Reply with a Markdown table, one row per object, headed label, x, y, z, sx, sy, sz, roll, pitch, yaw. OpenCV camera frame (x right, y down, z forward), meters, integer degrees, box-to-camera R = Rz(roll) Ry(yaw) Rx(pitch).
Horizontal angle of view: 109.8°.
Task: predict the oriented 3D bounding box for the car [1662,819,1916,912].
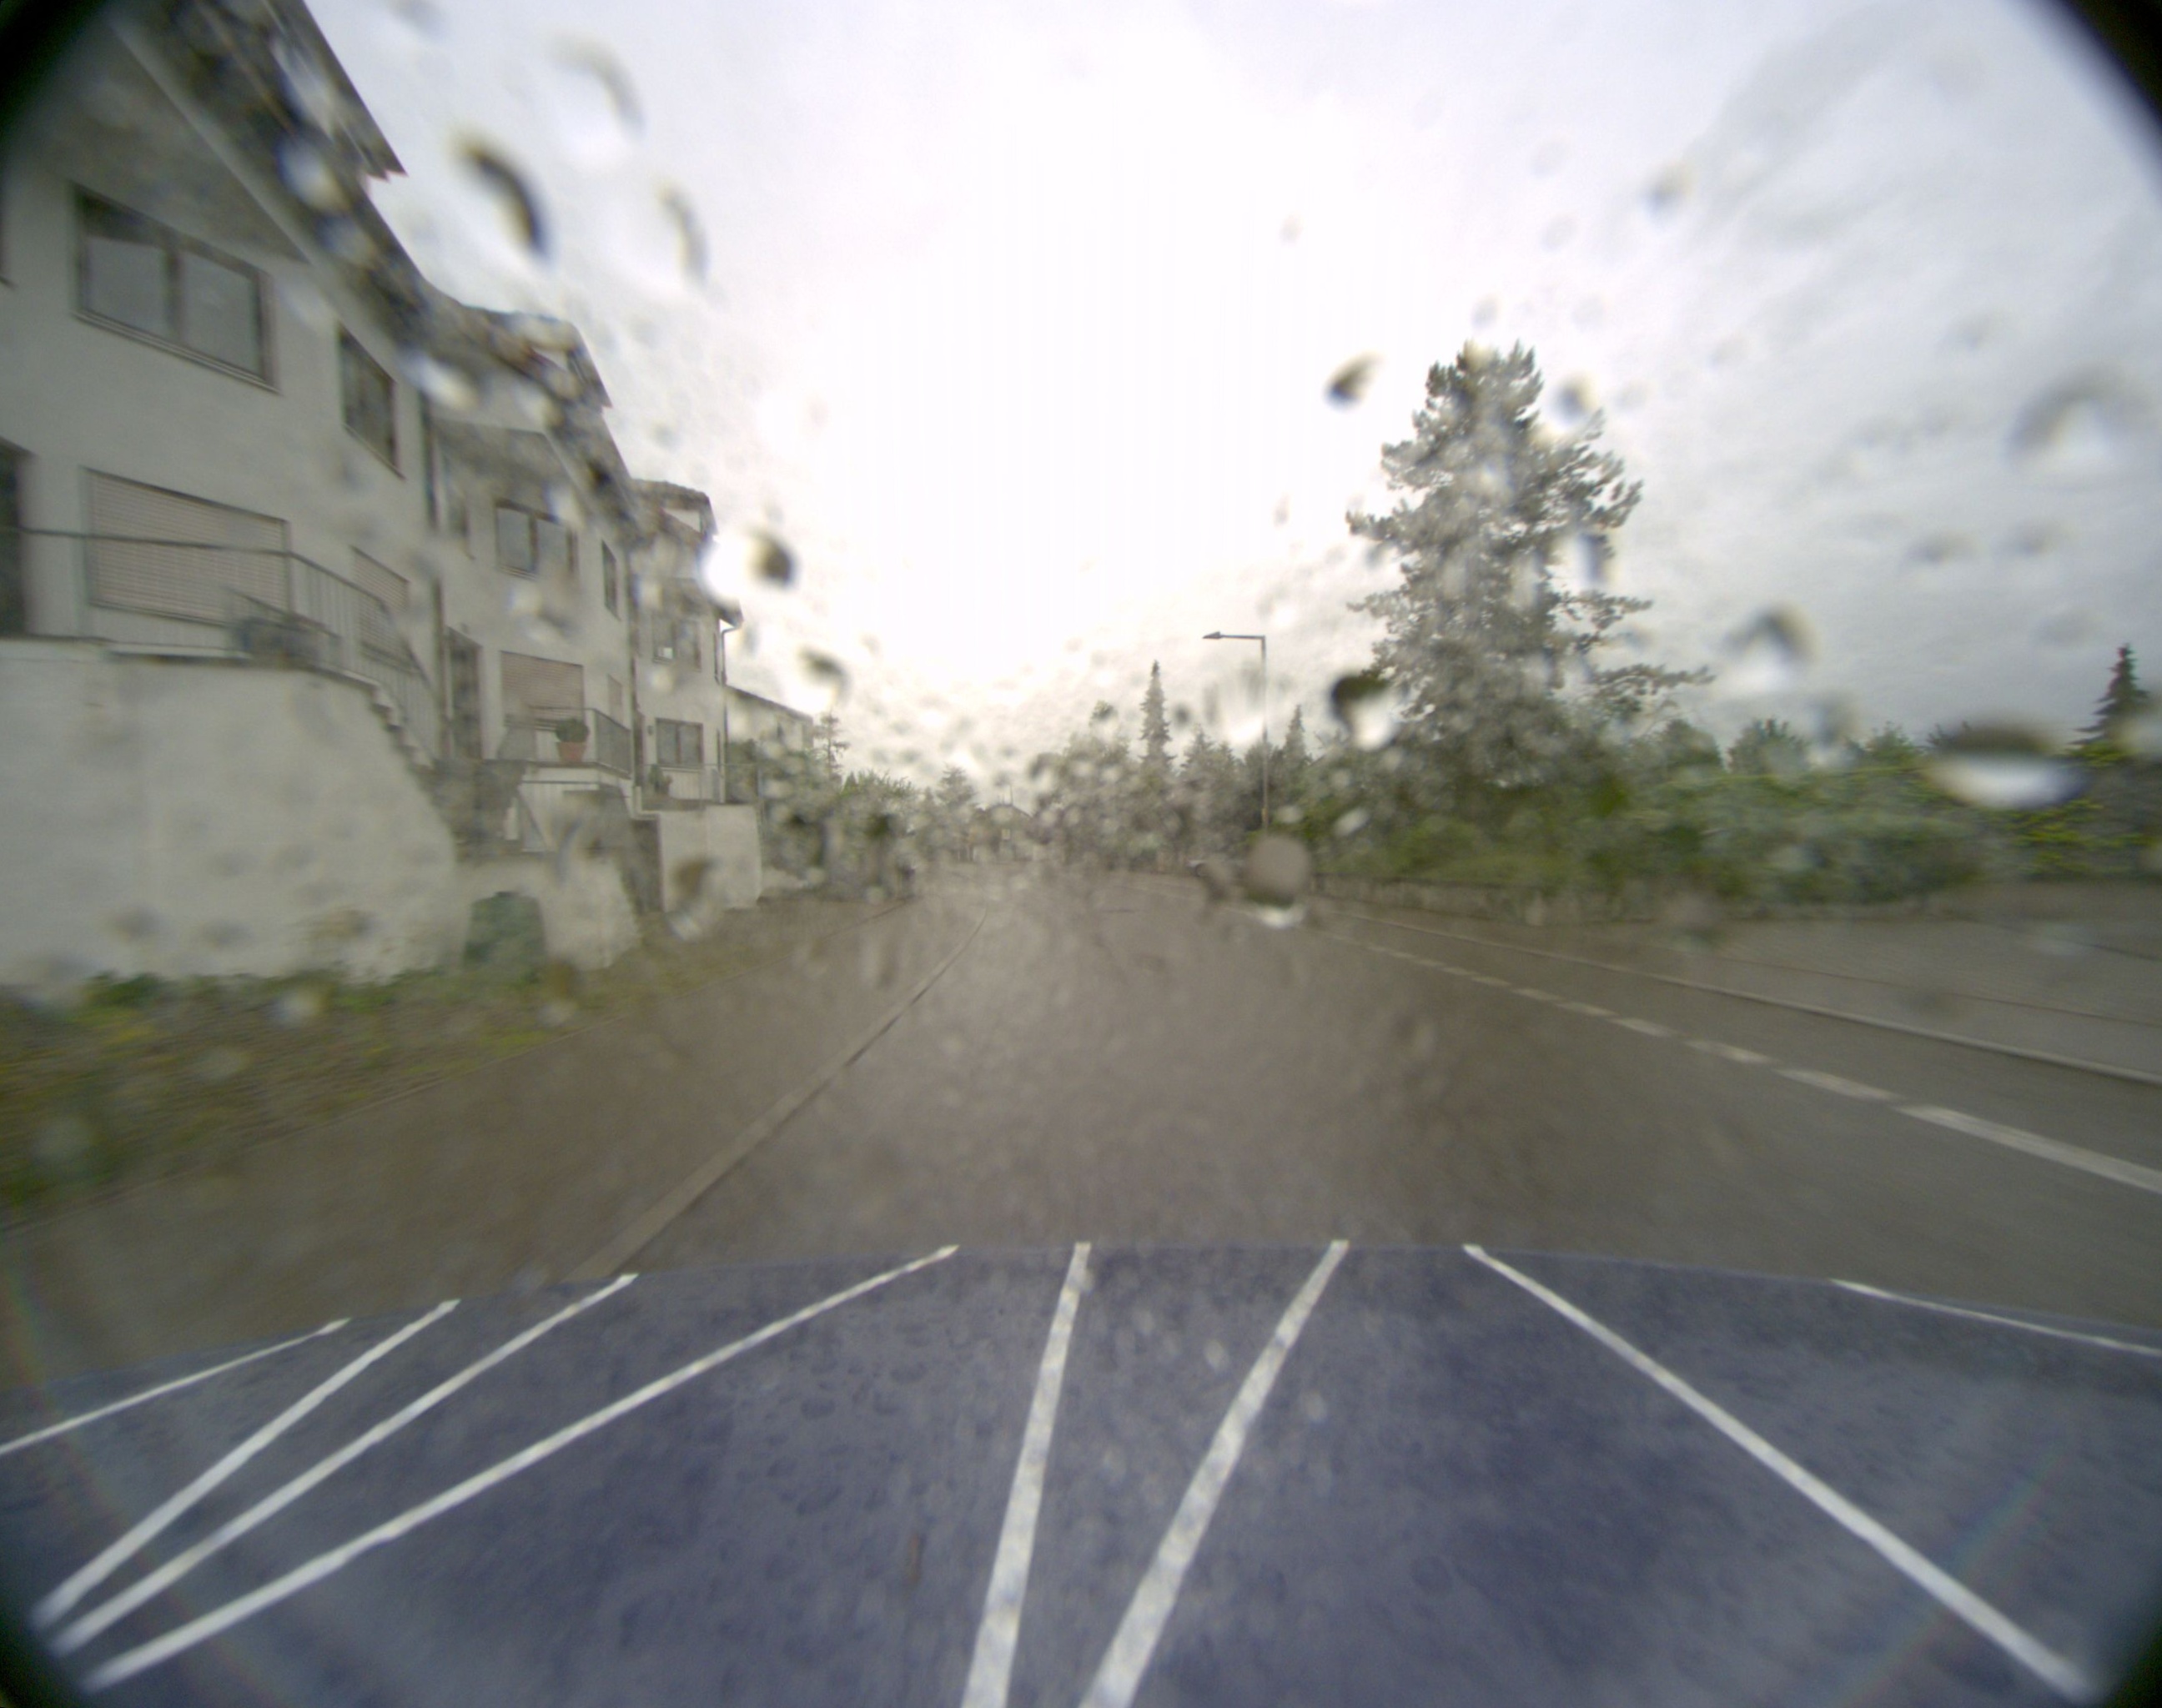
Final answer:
| label | x | y | z | sx | sy | sz | roll | pitch | yaw |
| --- | --- | --- | --- | --- | --- | --- | --- | --- | --- |
| car | 13.486 | 0.182 | 14.859 | 1.996 | 1.565 | 4.004 | -1 | 1 | 15 |

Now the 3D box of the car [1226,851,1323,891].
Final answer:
| label | x | y | z | sx | sy | sz | roll | pitch | yaw |
| --- | --- | --- | --- | --- | --- | --- | --- | --- | --- |
| car | 7.086 | 0.575 | 28.356 | 2.000 | 1.300 | 4.429 | -1 | 1 | -8 |

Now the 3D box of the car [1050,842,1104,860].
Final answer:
| label | x | y | z | sx | sy | sz | roll | pitch | yaw |
| --- | --- | --- | --- | --- | --- | --- | --- | --- | --- |
| car | -0.374 | -0.291 | 69.164 | 4.559 | 1.467 | 1.835 | -3 | 1 | -22 |

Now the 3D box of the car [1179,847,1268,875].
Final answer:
| label | x | y | z | sx | sy | sz | roll | pitch | yaw |
| --- | --- | --- | --- | --- | --- | --- | --- | --- | --- |
| car | 7.088 | 0.333 | 38.037 | 3.998 | 1.264 | 1.873 | -2 | 1 | -3 |

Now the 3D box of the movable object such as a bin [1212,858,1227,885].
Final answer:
| label | x | y | z | sx | sy | sz | roll | pitch | yaw |
| --- | --- | --- | --- | --- | --- | --- | --- | --- | --- |
| movable object such as a bin | 5.272 | 0.663 | 28.923 | 0.371 | 0.982 | 0.558 | -1 | 1 | -9 |

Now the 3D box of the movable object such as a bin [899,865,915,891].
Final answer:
| label | x | y | z | sx | sy | sz | roll | pitch | yaw |
| --- | --- | --- | --- | --- | --- | --- | --- | --- | --- |
| movable object such as a bin | -6.304 | 0.876 | 27.558 | 0.493 | 0.917 | 0.457 | -1 | 1 | -6 |
